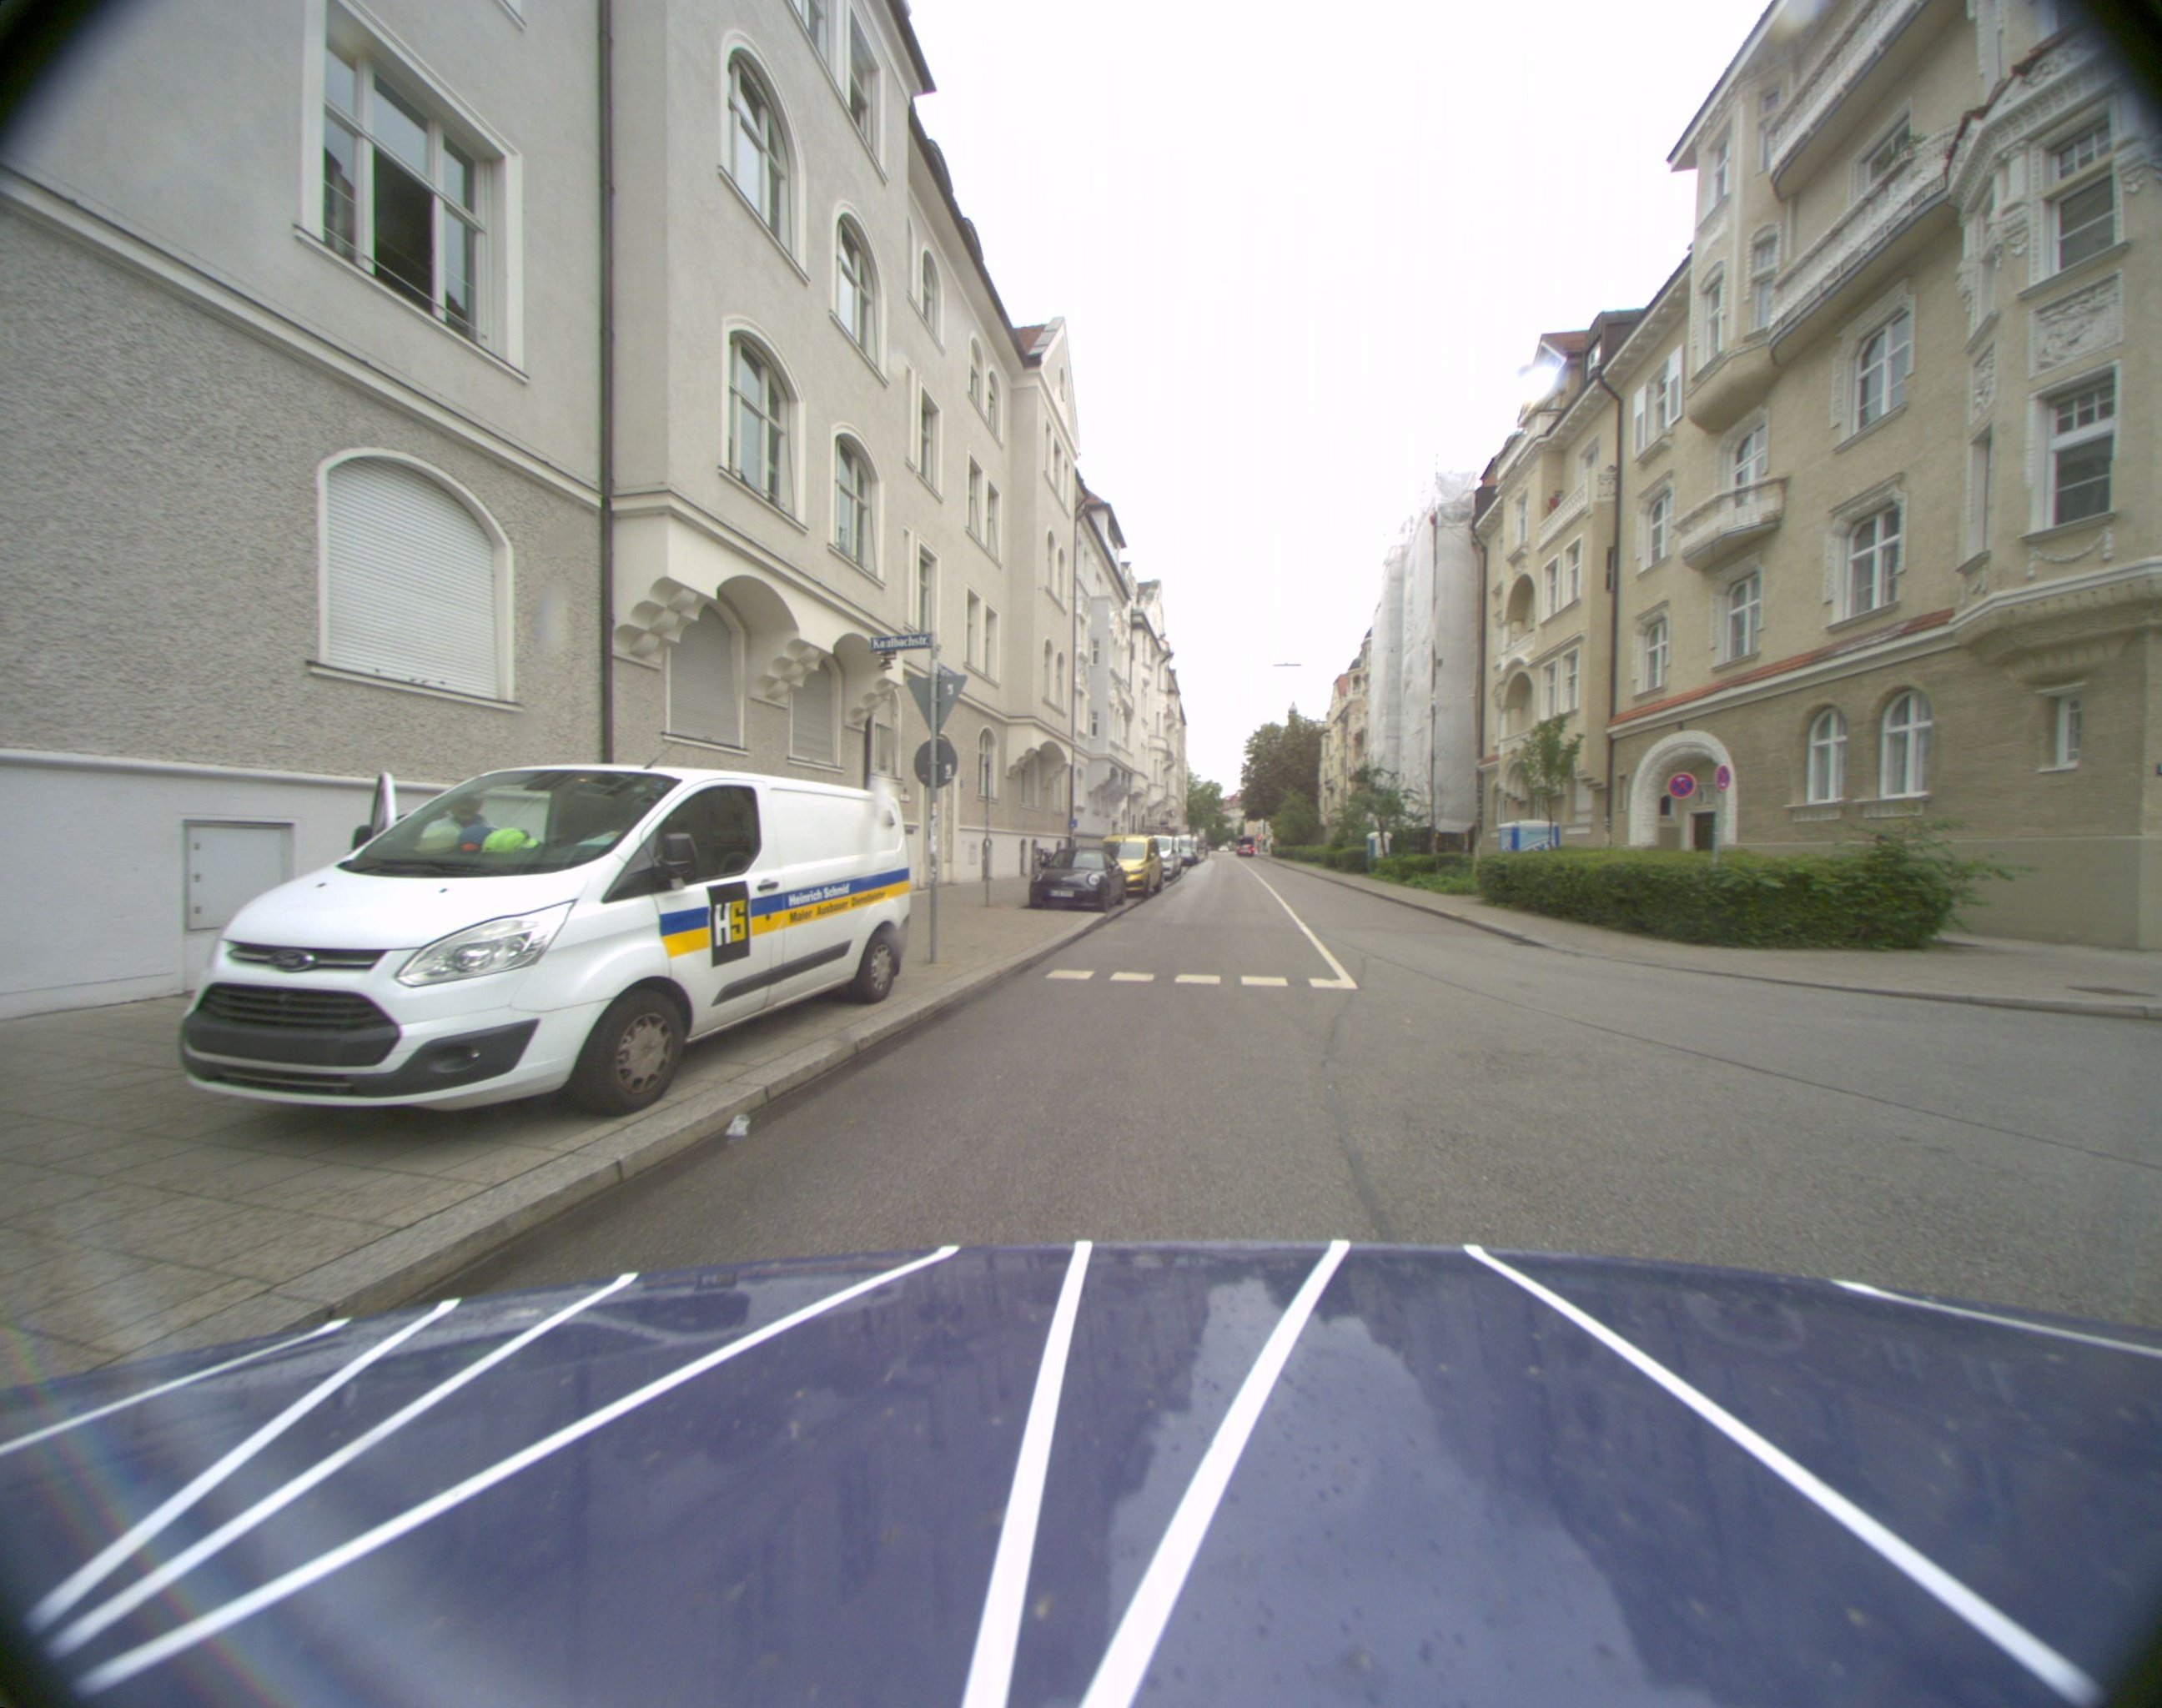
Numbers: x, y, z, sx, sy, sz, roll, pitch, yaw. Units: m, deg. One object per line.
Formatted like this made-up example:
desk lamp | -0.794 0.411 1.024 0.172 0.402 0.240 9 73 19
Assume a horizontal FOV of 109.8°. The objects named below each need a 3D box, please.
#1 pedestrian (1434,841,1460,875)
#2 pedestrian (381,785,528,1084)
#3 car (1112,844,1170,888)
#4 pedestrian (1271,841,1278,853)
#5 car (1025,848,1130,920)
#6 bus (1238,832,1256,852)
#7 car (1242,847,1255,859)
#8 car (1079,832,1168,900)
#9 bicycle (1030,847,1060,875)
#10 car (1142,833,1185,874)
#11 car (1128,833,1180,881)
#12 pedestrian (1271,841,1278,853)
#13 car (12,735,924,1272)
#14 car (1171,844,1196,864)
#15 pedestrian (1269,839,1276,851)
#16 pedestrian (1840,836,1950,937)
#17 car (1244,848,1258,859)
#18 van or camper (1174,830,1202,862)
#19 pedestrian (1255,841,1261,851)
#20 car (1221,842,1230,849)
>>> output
pedestrian | 18.987 0.202 39.444 0.915 1.741 0.948 2 2 10
pedestrian | -4.282 0.499 5.202 0.590 1.877 0.678 2 2 40
car | 2.286 0.404 28.316 1.634 1.476 3.786 2 1 12
pedestrian | 29.175 -1.069 114.627 0.909 1.735 0.847 1 2 10
car | 0.036 0.611 17.836 1.666 1.449 3.899 1 1 12
bus | 26.588 -1.883 122.078 2.583 3.083 8.929 2 1 11
car | 23.250 -0.167 105.597 1.587 1.471 3.785 2 1 10
car | 1.435 0.304 23.339 1.853 1.842 4.825 1 1 14
bicycle | -1.493 0.284 31.552 0.695 1.087 2.038 3 2 12
car | 4.466 -0.055 40.353 1.963 2.002 4.996 1 1 9
car | 3.372 0.080 34.178 1.963 1.926 4.996 1 1 9
pedestrian | 29.578 -1.113 116.331 0.874 1.735 0.911 1 2 10
car | -2.979 0.497 5.364 1.919 1.951 4.930 2 1 10
car | 7.984 -0.025 58.802 1.756 1.426 4.089 1 1 10
pedestrian | 33.345 -1.589 132.297 0.832 2.002 0.778 0 2 -32
pedestrian | 15.239 0.577 14.267 0.889 1.800 1.057 2 1 11
car | 24.967 -0.089 111.580 1.771 1.635 4.276 2 1 10
van or camper | 9.151 -0.697 64.635 1.957 2.622 5.462 1 1 11
pedestrian | 35.301 -1.640 151.445 0.951 2.002 1.398 2 2 20
car | 34.816 -1.979 183.045 1.925 1.609 4.003 1 1 11
